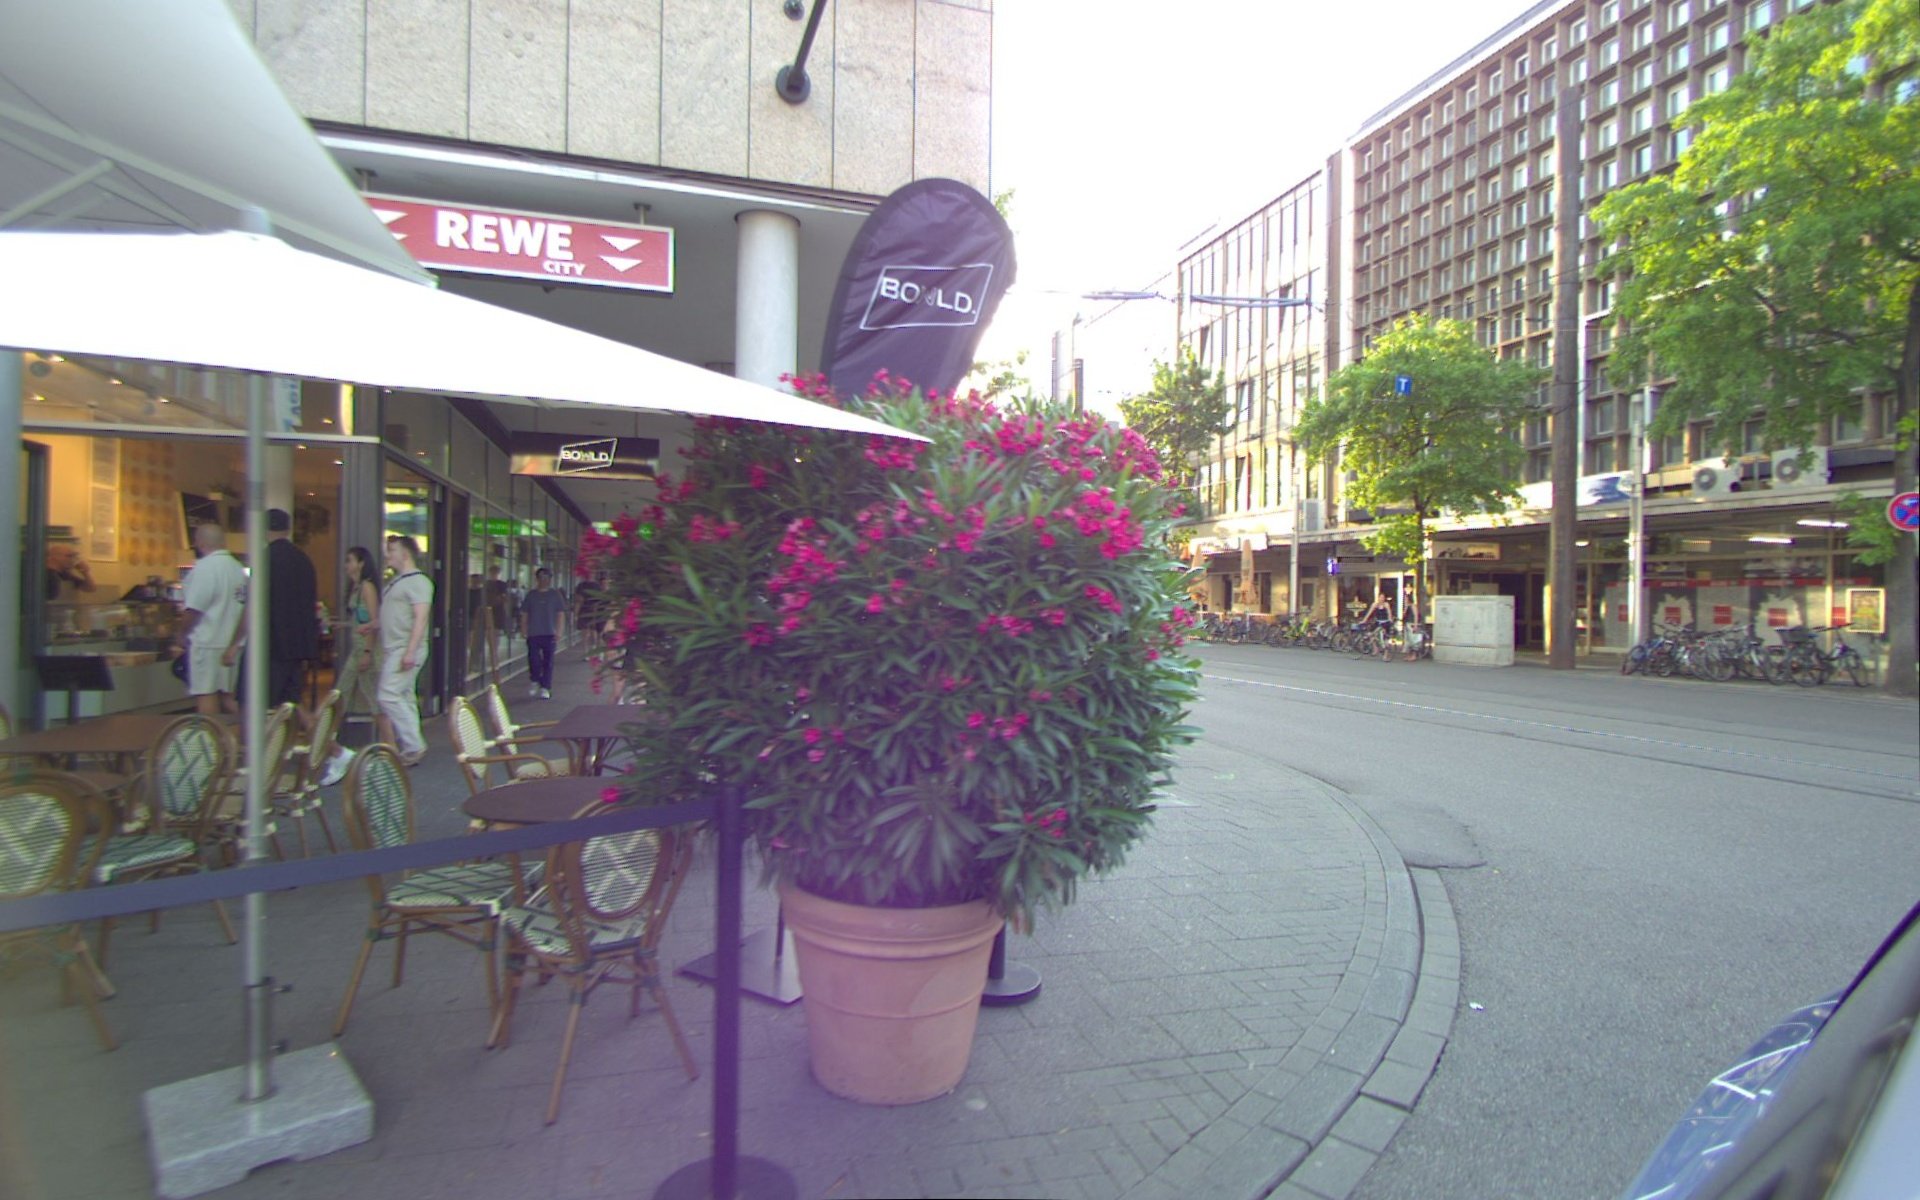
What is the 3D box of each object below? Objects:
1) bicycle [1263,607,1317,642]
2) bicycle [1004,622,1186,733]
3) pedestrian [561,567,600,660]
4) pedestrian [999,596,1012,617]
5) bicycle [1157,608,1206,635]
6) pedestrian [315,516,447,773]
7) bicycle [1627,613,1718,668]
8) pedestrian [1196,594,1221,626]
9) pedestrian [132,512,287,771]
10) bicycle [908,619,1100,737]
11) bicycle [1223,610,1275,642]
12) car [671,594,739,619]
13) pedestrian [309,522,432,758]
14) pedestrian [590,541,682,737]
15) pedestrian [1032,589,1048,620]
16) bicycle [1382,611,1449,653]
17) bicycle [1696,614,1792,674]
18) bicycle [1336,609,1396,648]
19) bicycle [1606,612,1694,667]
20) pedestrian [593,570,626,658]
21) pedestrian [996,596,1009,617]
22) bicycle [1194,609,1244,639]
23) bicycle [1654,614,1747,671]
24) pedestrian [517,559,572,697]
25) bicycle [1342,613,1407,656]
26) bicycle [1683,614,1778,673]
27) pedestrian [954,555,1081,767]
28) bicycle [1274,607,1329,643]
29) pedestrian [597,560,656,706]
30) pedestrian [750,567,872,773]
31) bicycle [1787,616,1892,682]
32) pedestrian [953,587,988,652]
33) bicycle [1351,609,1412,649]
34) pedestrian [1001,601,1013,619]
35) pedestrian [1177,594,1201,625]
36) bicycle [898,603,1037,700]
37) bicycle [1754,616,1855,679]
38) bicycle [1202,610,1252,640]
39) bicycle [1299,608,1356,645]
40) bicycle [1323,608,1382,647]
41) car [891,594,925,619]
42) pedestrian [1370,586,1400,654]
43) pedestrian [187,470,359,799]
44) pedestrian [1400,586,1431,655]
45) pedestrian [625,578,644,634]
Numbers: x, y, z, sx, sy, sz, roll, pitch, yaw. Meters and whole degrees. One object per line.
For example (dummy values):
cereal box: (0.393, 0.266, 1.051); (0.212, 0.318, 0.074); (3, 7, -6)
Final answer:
bicycle: (10.758, 0.788, 32.955); (1.740, 1.085, 0.490); (-1, 0, -22)
bicycle: (1.460, 0.836, 10.972); (1.819, 1.123, 0.668); (2, -1, -19)
pedestrian: (-7.951, 0.278, 21.228); (0.674, 1.907, 0.775); (2, -1, -17)
pedestrian: (3.231, 0.452, 71.694); (0.649, 1.451, 0.644); (-4, 1, -16)
bicycle: (8.504, 0.825, 38.905); (1.744, 0.978, 0.489); (-1, 1, 1)
pedestrian: (-4.305, 0.318, 7.573); (0.651, 1.809, 0.721); (2, -1, -16)
bicycle: (14.454, 0.811, 20.529); (1.740, 1.058, 0.490); (-1, -1, -16)
pedestrian: (10.825, 0.431, 44.097); (0.658, 1.342, 0.914); (-2, 1, -18)
pedestrian: (-5.704, 0.307, 7.732); (0.651, 1.872, 0.720); (2, -1, -11)
bicycle: (0.447, 0.793, 10.385); (1.819, 1.123, 0.668); (2, -1, -19)
bicycle: (9.817, 0.876, 34.356); (1.740, 1.002, 0.490); (-1, -1, -22)
car: (-18.923, 0.502, 75.209); (1.910, 1.651, 4.566); (-1, -3, 42)
pedestrian: (-4.742, 0.313, 8.185); (0.651, 1.809, 0.721); (2, -1, -16)
pedestrian: (-3.110, 0.360, 9.752); (0.759, 1.795, 0.775); (2, 0, -17)
pedestrian: (4.878, 0.271, 61.751); (0.672, 1.815, 0.992); (-2, 1, -14)
bicycle: (11.913, 0.828, 26.528); (0.479, 1.058, 1.781); (0, -1, -19)
bicycle: (14.865, 0.823, 19.195); (1.740, 1.058, 0.490); (-1, -1, -16)
bicycle: (11.861, 0.819, 29.535); (1.740, 1.085, 0.490); (-1, 0, -22)
bicycle: (14.318, 0.807, 21.002); (1.740, 1.058, 0.490); (-1, -1, -16)
pedestrian: (-7.259, 0.281, 21.002); (0.571, 1.775, 0.775); (2, -1, -17)
pedestrian: (3.017, 0.446, 72.382); (0.649, 1.451, 0.644); (-4, 1, -16)
bicycle: (9.266, 0.859, 36.220); (1.740, 1.002, 0.490); (-1, -1, -22)
bicycle: (14.613, 0.816, 19.979); (1.740, 1.058, 0.490); (-1, -1, -16)
pedestrian: (-5.428, 0.364, 13.237); (0.560, 1.753, 0.618); (2, -1, -17)
bicycle: (10.613, 0.864, 25.953); (0.479, 1.058, 1.781); (0, -1, -19)
bicycle: (14.799, 0.821, 19.429); (1.740, 1.058, 0.490); (-1, -1, -16)
pedestrian: (0.482, 0.502, 8.727); (0.788, 1.716, 0.812); (2, -1, -20)
bicycle: (10.940, 0.793, 32.405); (1.740, 1.085, 0.490); (-1, 0, -22)
pedestrian: (-4.108, 0.400, 12.476); (0.624, 1.753, 0.618); (2, -1, -17)
pedestrian: (-1.221, 0.537, 8.192); (0.788, 1.556, 0.812); (2, -1, -20)
bicycle: (15.296, 0.837, 17.607); (1.740, 1.058, 0.490); (-1, -1, -16)
pedestrian: (0.290, 0.538, 28.965); (0.805, 1.815, 0.992); (-2, 0, -9)
bicycle: (12.037, 0.825, 28.905); (1.740, 1.085, 0.490); (-1, 0, -22)
pedestrian: (3.248, 0.669, 69.765); (0.629, 1.171, 0.667); (-2, 1, -18)
pedestrian: (10.218, 0.430, 45.164); (0.658, 1.342, 0.914); (-2, 1, -18)
bicycle: (0.110, 0.765, 15.070); (1.880, 1.350, 0.727); (3, -1, -21)
bicycle: (15.166, 0.832, 18.175); (1.740, 1.058, 0.490); (-1, -1, -16)
bicycle: (9.424, 0.864, 35.715); (1.740, 1.002, 0.490); (-1, -1, -22)
bicycle: (11.340, 0.804, 31.226); (1.740, 1.085, 0.490); (-1, 0, -22)
bicycle: (11.655, 0.814, 30.044); (1.740, 1.085, 0.490); (-1, 0, -22)
car: (-4.187, 0.484, 80.879); (1.794, 1.844, 4.338); (-2, 0, -15)
pedestrian: (10.920, 0.509, 26.001); (0.594, 1.721, 0.534); (0, -1, 13)
pedestrian: (-4.532, 0.219, 6.736); (0.674, 2.039, 0.784); (2, -1, -16)
pedestrian: (11.518, 0.513, 25.600); (0.594, 1.721, 0.534); (0, -1, 13)
pedestrian: (-10.874, 0.198, 33.834); (0.529, 1.829, 0.605); (2, -1, -17)
